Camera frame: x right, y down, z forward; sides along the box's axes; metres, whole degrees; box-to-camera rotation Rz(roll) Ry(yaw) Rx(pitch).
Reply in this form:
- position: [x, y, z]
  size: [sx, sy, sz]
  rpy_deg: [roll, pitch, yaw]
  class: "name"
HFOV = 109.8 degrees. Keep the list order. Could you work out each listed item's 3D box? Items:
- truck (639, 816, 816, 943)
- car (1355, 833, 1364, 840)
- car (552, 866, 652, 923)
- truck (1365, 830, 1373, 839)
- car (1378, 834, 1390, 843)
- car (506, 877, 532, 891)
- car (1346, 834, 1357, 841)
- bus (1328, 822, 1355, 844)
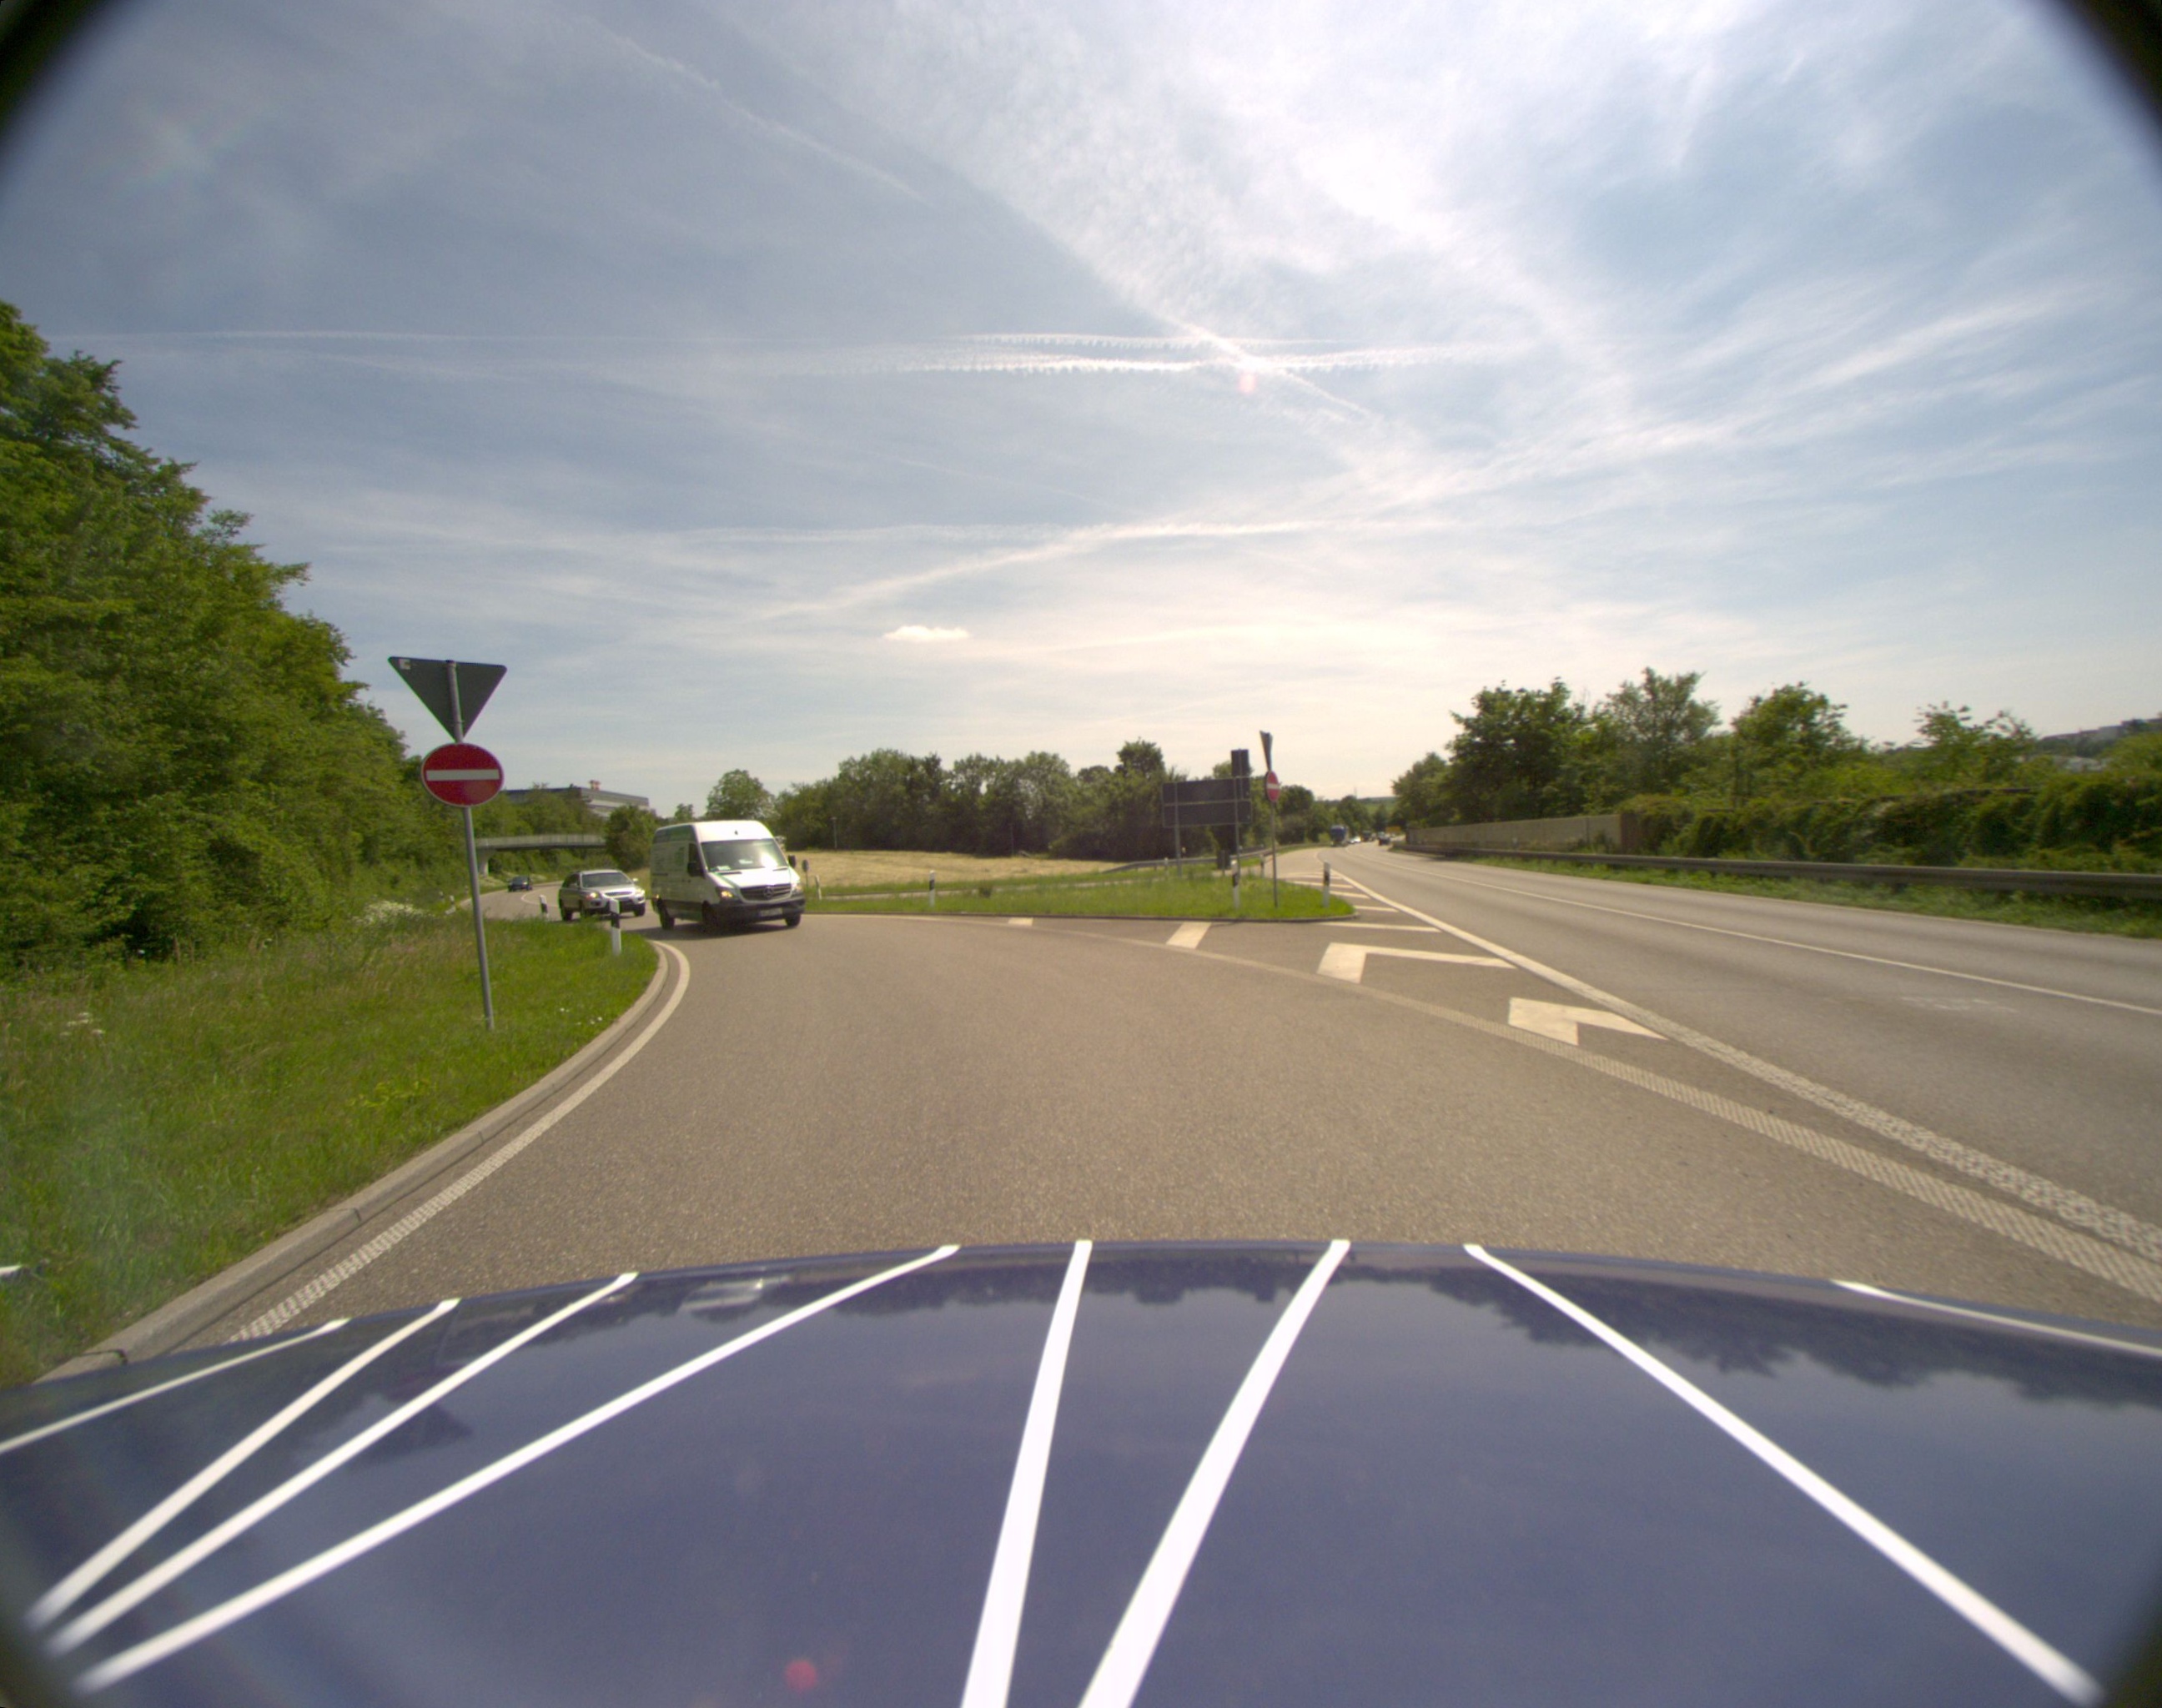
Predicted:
- position: [-8.712, 0.562, 18.382]
  size: [2.003, 2.571, 5.871]
  rpy_deg: [-5, 2, -43]
  class: "truck"
- position: [73.273, -4.579, 199.794]
  size: [1.995, 1.636, 4.006]
  rpy_deg: [-2, 1, 24]
  class: "car"
- position: [-16.437, 1.363, 26.001]
  size: [4.078, 1.698, 1.853]
  rpy_deg: [-3, 1, 44]
  class: "car"
- position: [84.140, -5.675, 222.009]
  size: [1.995, 2.584, 5.827]
  rpy_deg: [-2, 1, 22]
  class: "truck"
- position: [57.266, -2.983, 143.560]
  size: [1.751, 1.530, 4.113]
  rpy_deg: [-3, 1, 27]
  class: "car"
- position: [-61.199, 3.217, 82.772]
  size: [1.963, 1.414, 3.928]
  rpy_deg: [-2, 0, -33]
  class: "car"
- position: [64.180, -3.868, 180.350]
  size: [1.995, 1.632, 4.006]
  rpy_deg: [-1, 1, 24]
  class: "car"
- position: [49.532, -4.017, 144.237]
  size: [3.345, 4.046, 10.529]
  rpy_deg: [-1, 1, 26]
  class: "bus"
